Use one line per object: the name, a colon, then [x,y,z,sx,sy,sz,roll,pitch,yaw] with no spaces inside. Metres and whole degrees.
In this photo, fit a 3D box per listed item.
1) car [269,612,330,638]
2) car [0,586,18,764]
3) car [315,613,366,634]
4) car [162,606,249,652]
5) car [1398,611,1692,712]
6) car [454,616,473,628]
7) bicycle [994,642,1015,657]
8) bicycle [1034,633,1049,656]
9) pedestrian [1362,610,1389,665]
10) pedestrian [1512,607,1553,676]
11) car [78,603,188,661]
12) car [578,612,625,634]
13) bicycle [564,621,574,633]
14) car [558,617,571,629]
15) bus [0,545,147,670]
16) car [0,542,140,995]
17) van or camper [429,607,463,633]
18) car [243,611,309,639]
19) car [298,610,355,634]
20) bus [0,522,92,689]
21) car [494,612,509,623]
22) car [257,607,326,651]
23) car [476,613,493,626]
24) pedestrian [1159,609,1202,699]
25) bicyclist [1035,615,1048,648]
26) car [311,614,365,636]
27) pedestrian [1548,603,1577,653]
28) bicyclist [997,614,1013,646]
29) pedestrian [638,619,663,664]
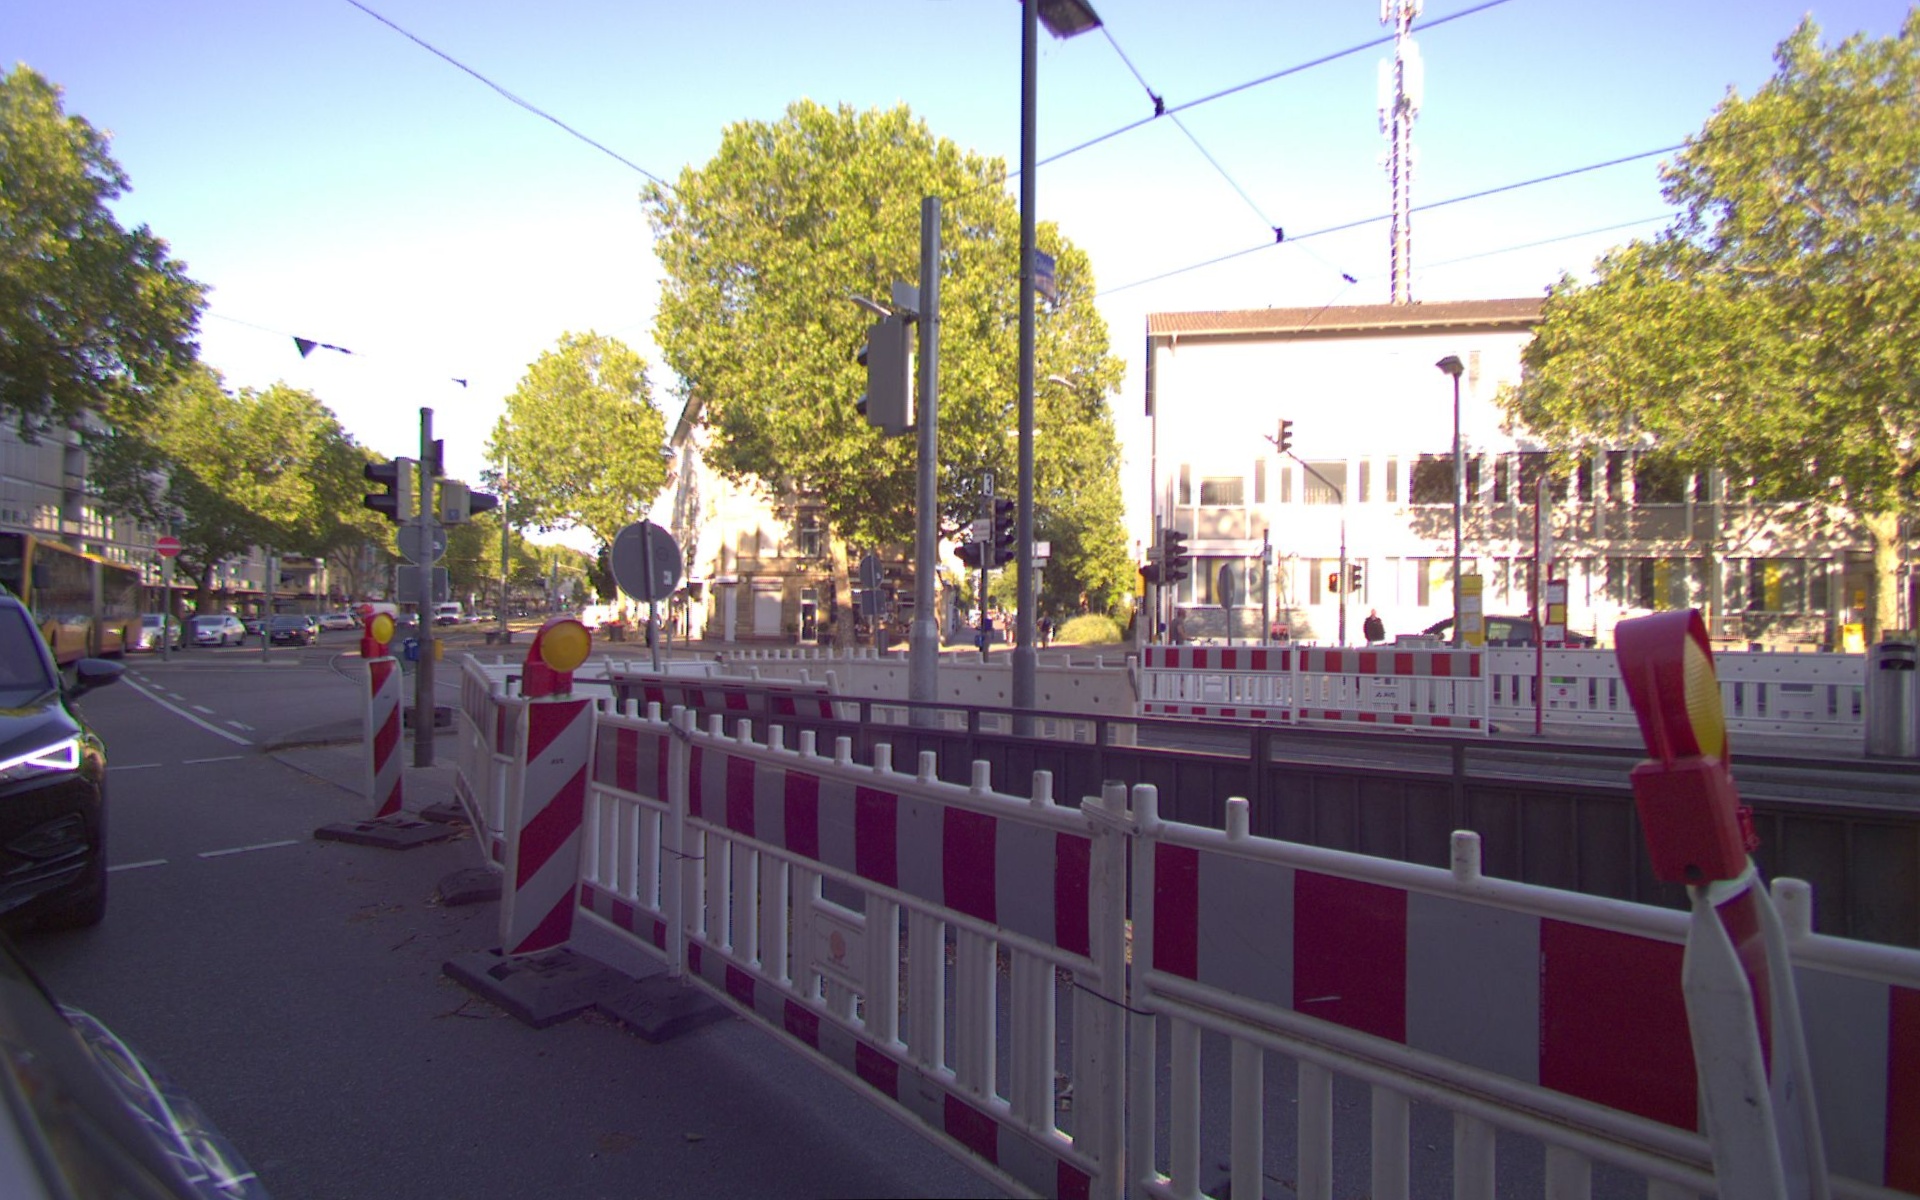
car: [-53.975,2.051,82.746,3.938,2.029,2.002,1,-2,-42]
car: [-11.014,0.700,10.072,4.073,1.656,1.973,-1,-2,41]
car: [-60.258,2.274,98.518,3.938,2.029,2.002,1,-2,-42]
car: [-34.973,1.343,47.041,1.966,2.029,4.012,1,-1,-17]
car: [10.868,1.066,18.970,4.552,1.674,1.974,-1,-2,38]
car: [-62.645,2.768,127.808,1.675,1.481,3.776,1,-2,-19]
bicycle: [2.439,2.707,55.392,0.676,0.788,1.979,0,-1,17]
bicycle: [3.877,2.106,48.068,0.669,1.039,2.186,0,-1,5]
pedestrian: [12.127,1.091,29.529,0.649,1.564,0.563,-1,-2,28]
pedestrian: [15.524,1.109,27.442,0.923,1.847,0.693,-1,-2,28]
car: [-30.797,1.168,37.824,1.965,2.029,4.111,1,-1,-21]
car: [-34.407,2.232,97.112,1.990,2.029,3.963,0,-2,27]
bicycle: [-39.814,2.776,103.023,0.837,1.202,2.474,1,-2,-23]
car: [-68.034,3.899,174.026,1.965,2.029,4.013,1,-1,-20]
bus: [-26.000,0.257,29.224,2.676,3.130,8.622,1,-2,-31]
car: [-5.473,0.649,4.778,3.998,1.719,1.818,-1,-2,41]
van or camper: [-56.212,2.218,110.775,2.385,2.739,6.151,1,-1,-18]
car: [-50.590,1.878,74.928,3.932,2.029,2.006,1,-2,-31]
car: [-55.965,1.954,89.457,3.938,2.029,2.002,1,-2,-42]
bus: [-21.071,0.153,21.962,2.678,3.130,8.641,1,-2,-36]
car: [-75.782,2.906,167.303,1.809,1.816,4.143,1,-2,-19]
car: [-31.668,1.367,48.059,1.965,2.029,4.013,1,-1,-22]
car: [-67.762,2.734,144.302,1.809,1.816,4.143,1,-2,-19]
pedestrian: [4.398,1.065,20.217,0.545,1.760,0.693,1,-2,-24]
bicyclist: [3.860,1.488,48.010,0.568,1.538,0.845,0,-1,4]
car: [-58.019,2.359,94.412,3.938,2.029,2.002,1,-2,-42]
pedestrian: [17.826,0.815,29.953,0.580,1.466,0.584,0,-2,13]
bicyclist: [2.473,1.633,55.539,0.668,1.741,0.761,0,-2,17]
pedestrian: [-10.662,1.419,34.870,0.594,1.545,0.746,1,-2,-38]
